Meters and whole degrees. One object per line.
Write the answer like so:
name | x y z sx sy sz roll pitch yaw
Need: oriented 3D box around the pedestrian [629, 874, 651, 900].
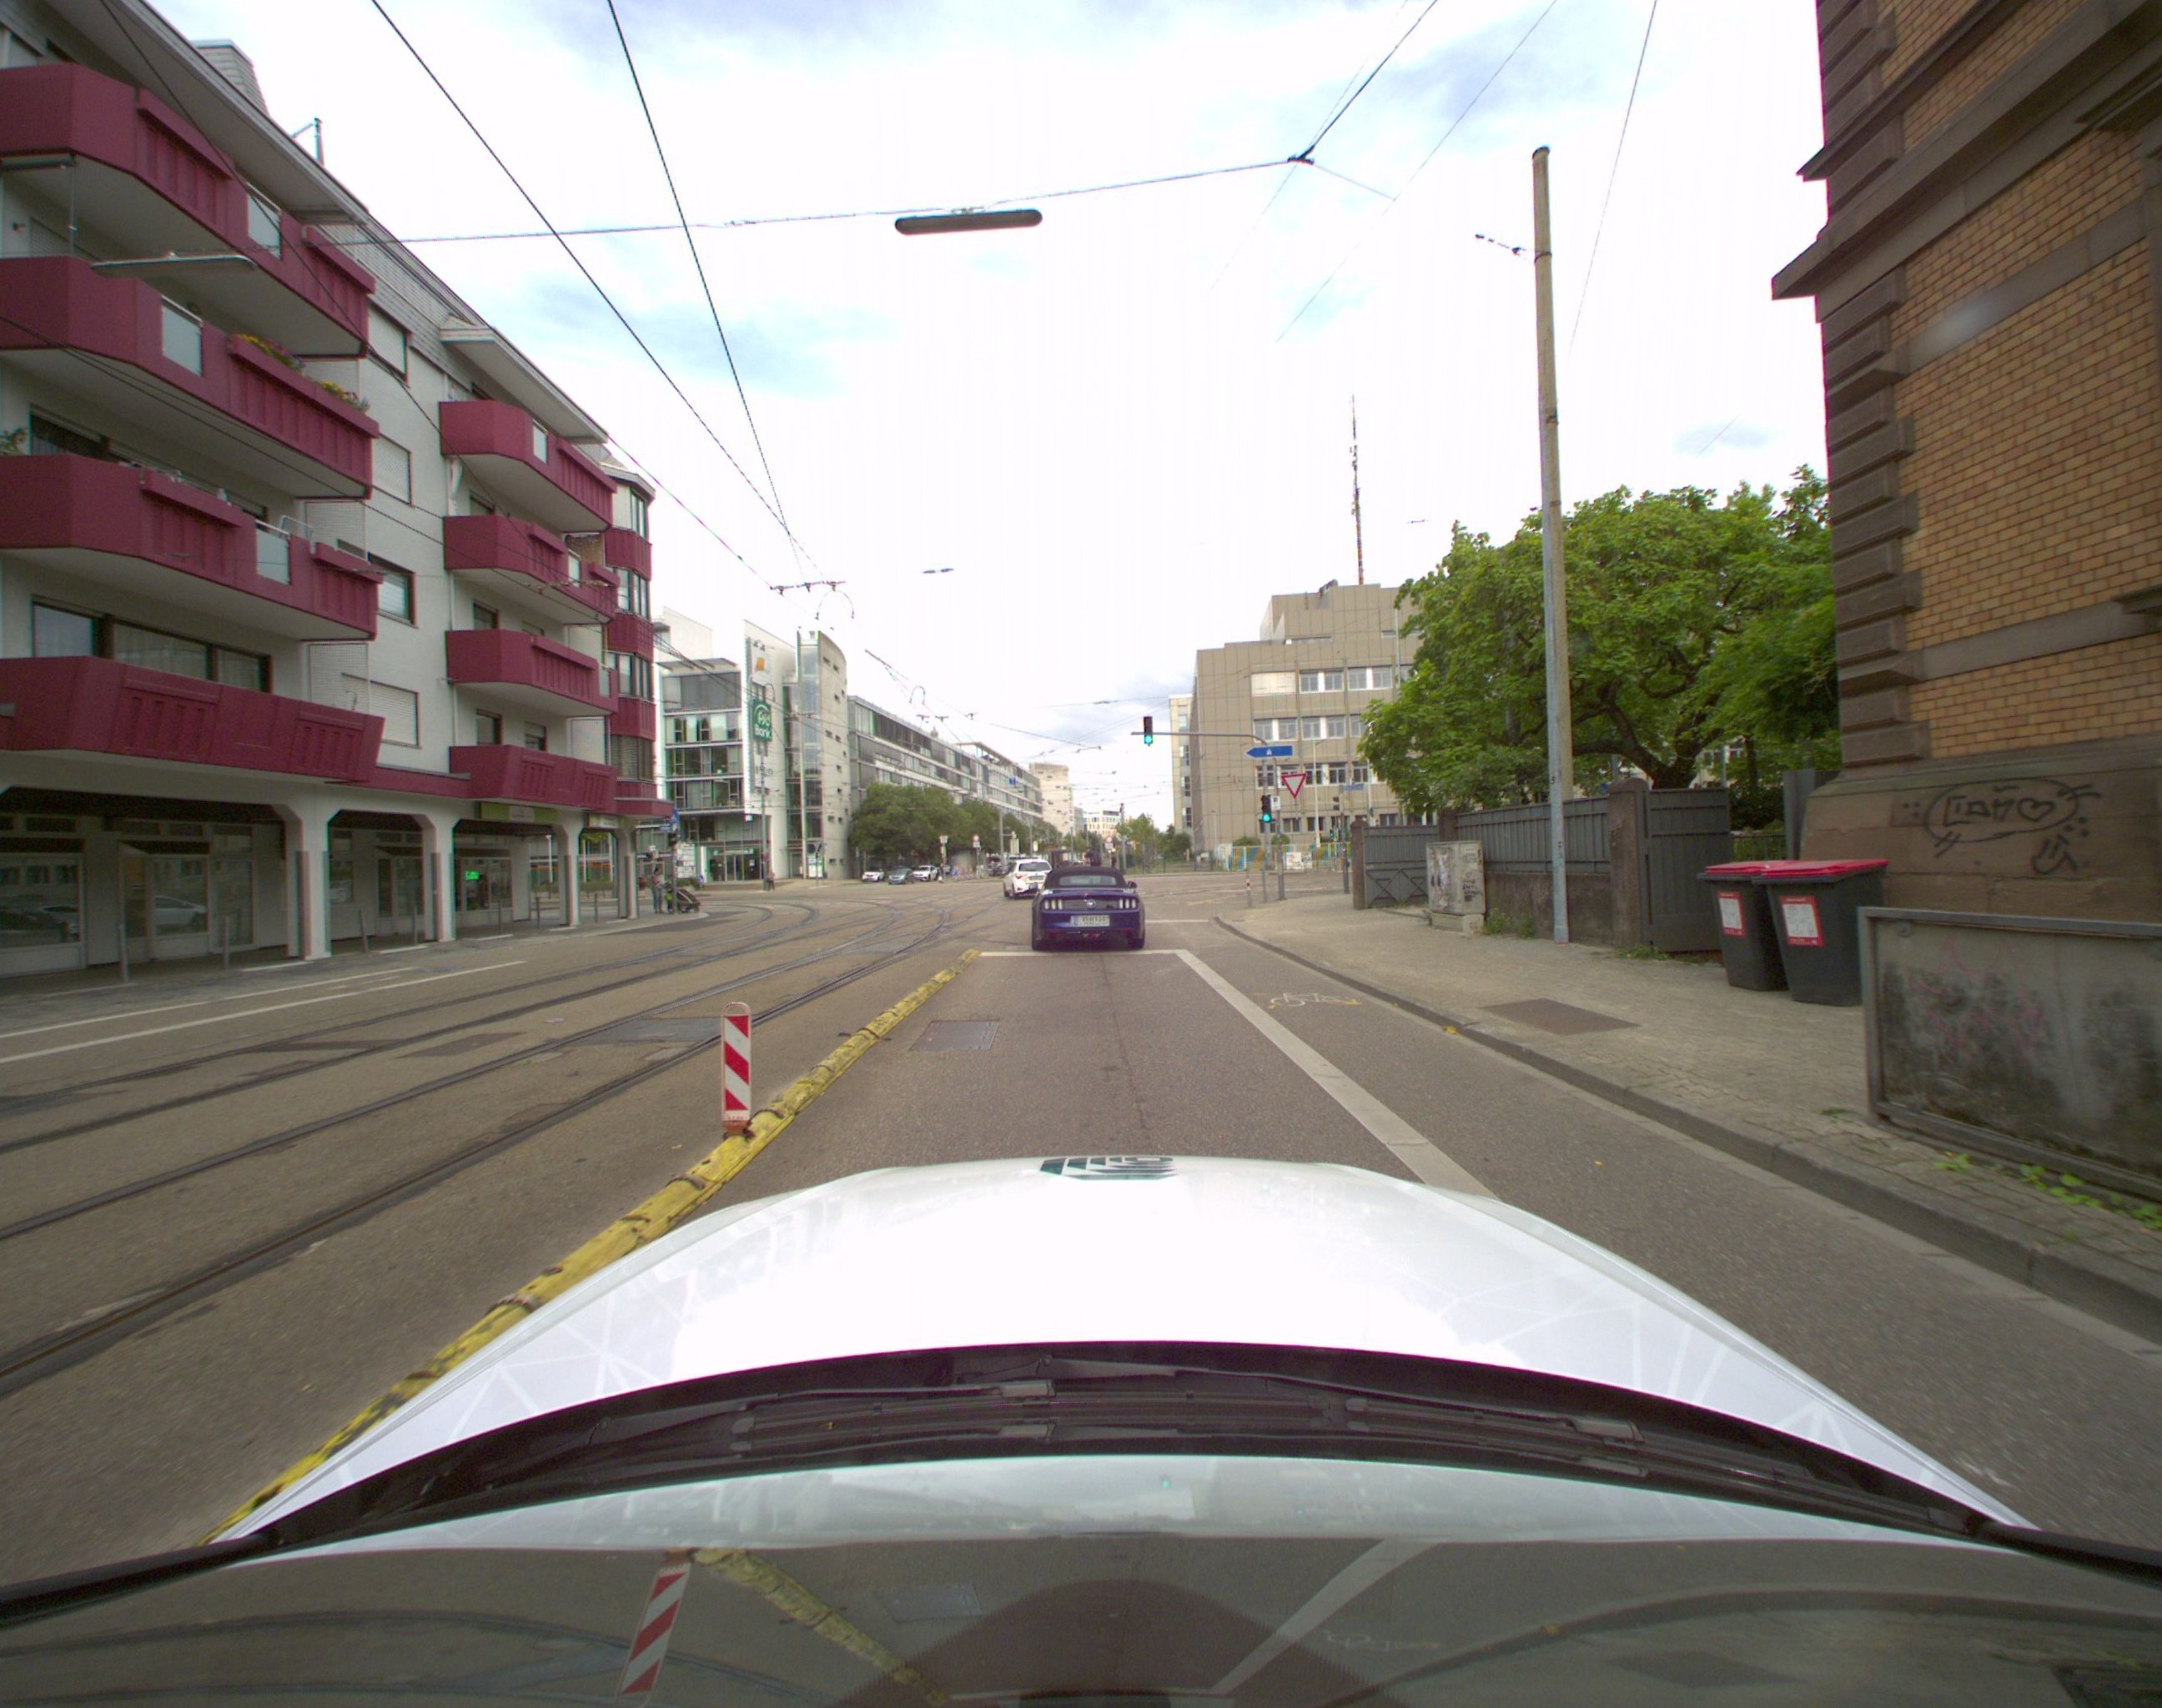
pedestrian | -28.882 2.165 53.387 0.928 1.671 0.769 -3 -1 14

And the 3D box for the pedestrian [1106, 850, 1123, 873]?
pedestrian | 2.800 0.630 67.700 1.077 1.898 0.906 -3 -1 20

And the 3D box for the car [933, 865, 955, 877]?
car | -18.667 2.353 111.359 1.978 1.557 4.516 0 0 3

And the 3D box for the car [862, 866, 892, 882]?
car | -21.491 2.113 85.928 1.820 1.557 4.223 0 0 6

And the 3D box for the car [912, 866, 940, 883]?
car | -16.184 2.111 85.207 1.706 1.660 4.139 0 0 6

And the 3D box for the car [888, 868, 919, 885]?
car | -16.995 2.159 78.015 1.659 1.506 4.241 0 0 6

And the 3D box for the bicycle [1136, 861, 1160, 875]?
bicycle | 5.537 1.161 67.321 0.637 0.981 2.133 -2 -3 -40

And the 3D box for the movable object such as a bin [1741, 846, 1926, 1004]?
movable object such as a bin | 5.755 0.520 6.267 0.662 1.082 0.700 -6 -1 -4

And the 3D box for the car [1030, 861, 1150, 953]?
car | 0.046 0.838 14.889 1.872 1.404 4.277 -1 0 -3

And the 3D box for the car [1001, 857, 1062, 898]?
car | -2.036 0.890 32.349 1.836 1.439 4.170 -2 -1 -12

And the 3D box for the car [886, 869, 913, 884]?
car | -20.699 2.563 93.140 1.820 1.557 4.223 0 0 6

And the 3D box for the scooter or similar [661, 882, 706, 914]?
scooter or similar | -14.659 1.613 30.069 1.192 1.128 0.946 -2 0 -1

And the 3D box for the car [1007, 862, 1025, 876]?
car | -8.372 1.942 105.570 1.861 1.606 4.214 -3 -1 2

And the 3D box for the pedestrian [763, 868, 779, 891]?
pedestrian | -25.582 2.124 67.253 0.828 1.865 0.769 -3 -1 14

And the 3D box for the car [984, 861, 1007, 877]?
car | -9.630 1.697 91.929 1.872 1.628 4.088 -3 -1 2

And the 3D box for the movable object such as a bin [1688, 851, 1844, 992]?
movable object such as a bin | 5.839 0.558 6.981 0.649 1.082 0.677 -6 -1 -4

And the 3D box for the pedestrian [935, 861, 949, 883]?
pedestrian | -12.220 1.563 71.687 0.984 1.855 0.903 -3 -1 4

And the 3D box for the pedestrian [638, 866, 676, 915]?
pedestrian | -15.626 1.316 30.015 0.945 1.743 0.811 -2 -1 -2

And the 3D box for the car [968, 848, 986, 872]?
car | -16.623 0.955 130.364 1.978 3.637 4.516 0 0 3

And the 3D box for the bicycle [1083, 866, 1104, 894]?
bicycle | 0.506 1.042 33.401 0.798 1.086 2.131 -2 -1 0

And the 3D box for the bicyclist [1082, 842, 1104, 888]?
bicyclist | 0.493 0.445 33.366 0.793 1.785 1.232 -2 -1 0
